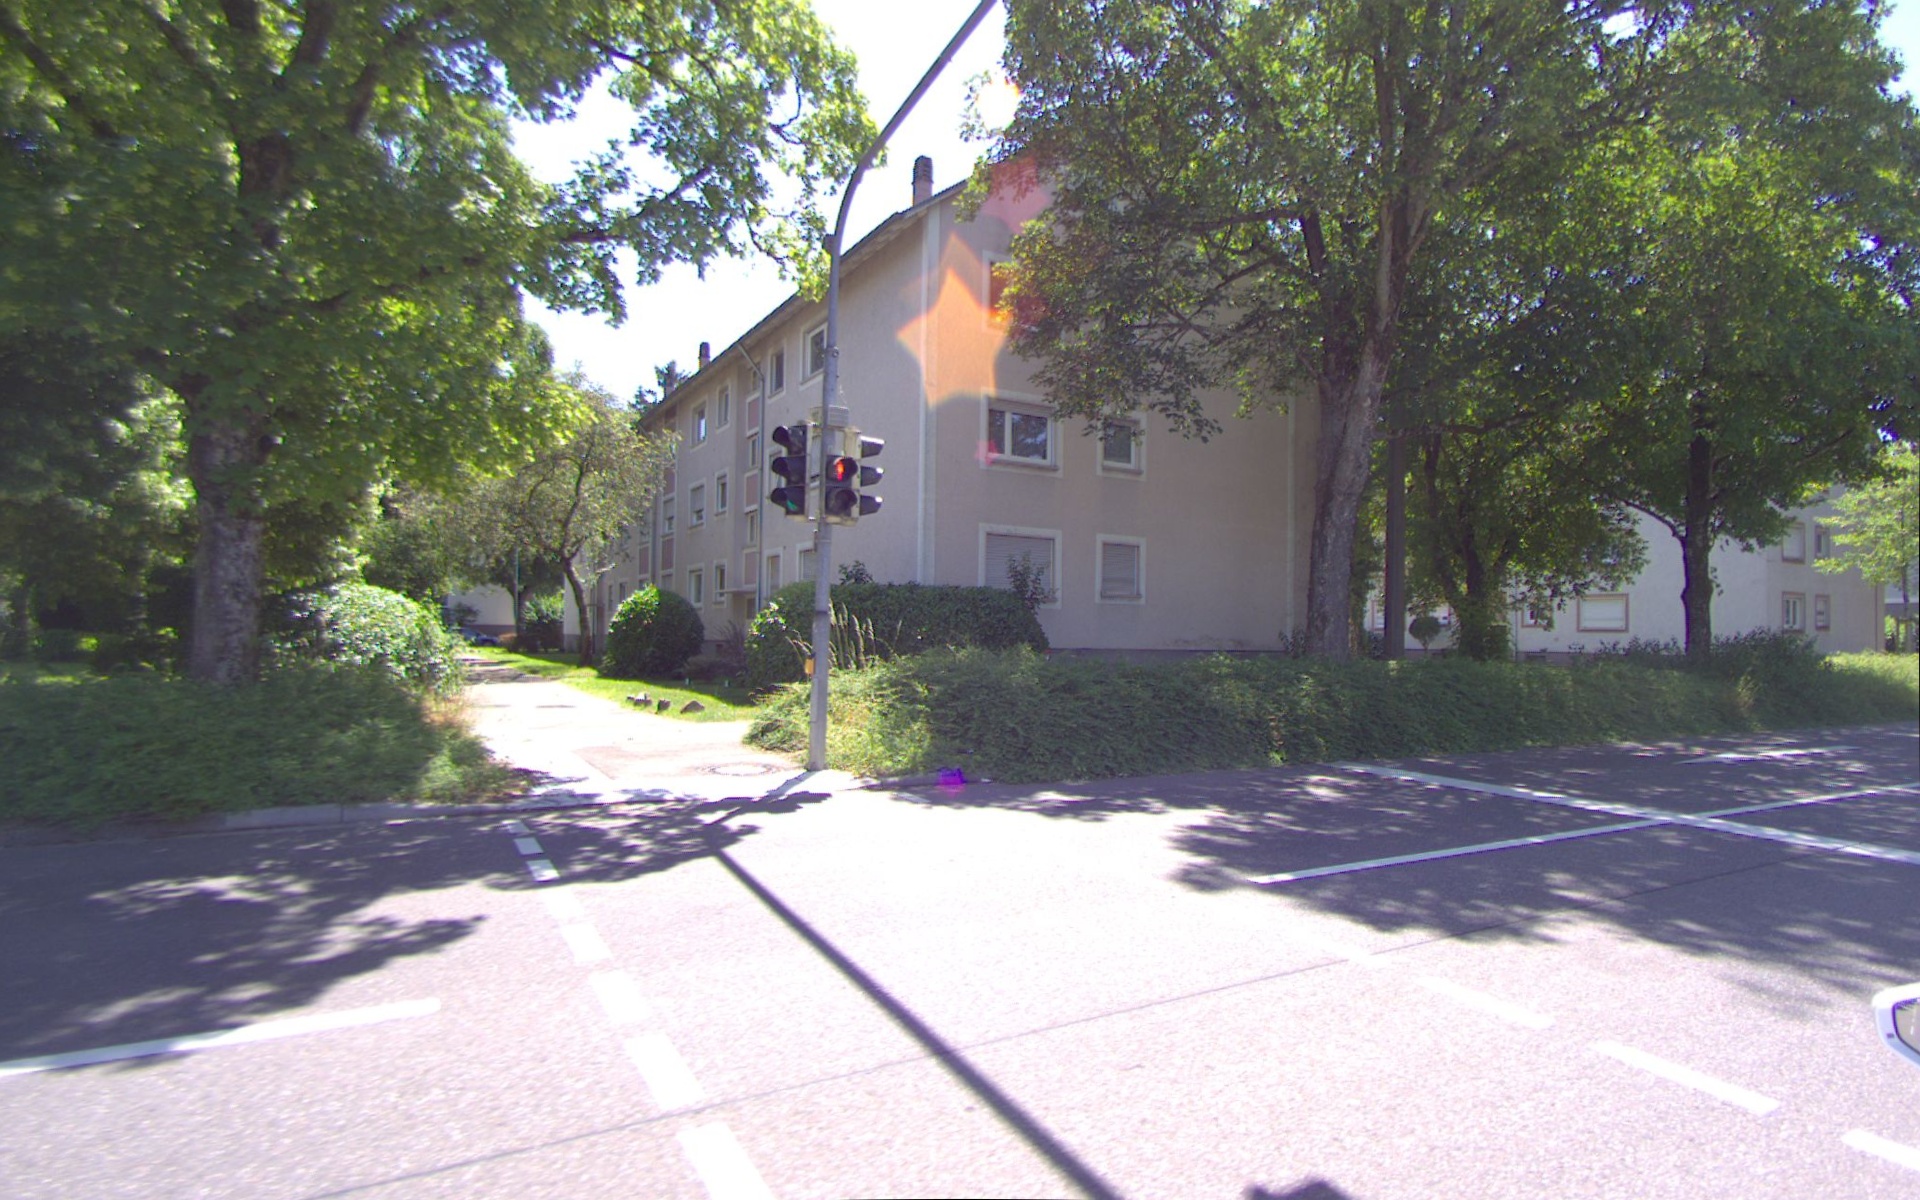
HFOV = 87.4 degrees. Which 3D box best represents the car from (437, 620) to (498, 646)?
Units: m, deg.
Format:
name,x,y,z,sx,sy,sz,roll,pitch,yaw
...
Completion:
name,x,y,z,sx,sy,sz,roll,pitch,yaw
car,-30.753,2.082,62.847,3.357,1.527,1.674,2,0,-26
